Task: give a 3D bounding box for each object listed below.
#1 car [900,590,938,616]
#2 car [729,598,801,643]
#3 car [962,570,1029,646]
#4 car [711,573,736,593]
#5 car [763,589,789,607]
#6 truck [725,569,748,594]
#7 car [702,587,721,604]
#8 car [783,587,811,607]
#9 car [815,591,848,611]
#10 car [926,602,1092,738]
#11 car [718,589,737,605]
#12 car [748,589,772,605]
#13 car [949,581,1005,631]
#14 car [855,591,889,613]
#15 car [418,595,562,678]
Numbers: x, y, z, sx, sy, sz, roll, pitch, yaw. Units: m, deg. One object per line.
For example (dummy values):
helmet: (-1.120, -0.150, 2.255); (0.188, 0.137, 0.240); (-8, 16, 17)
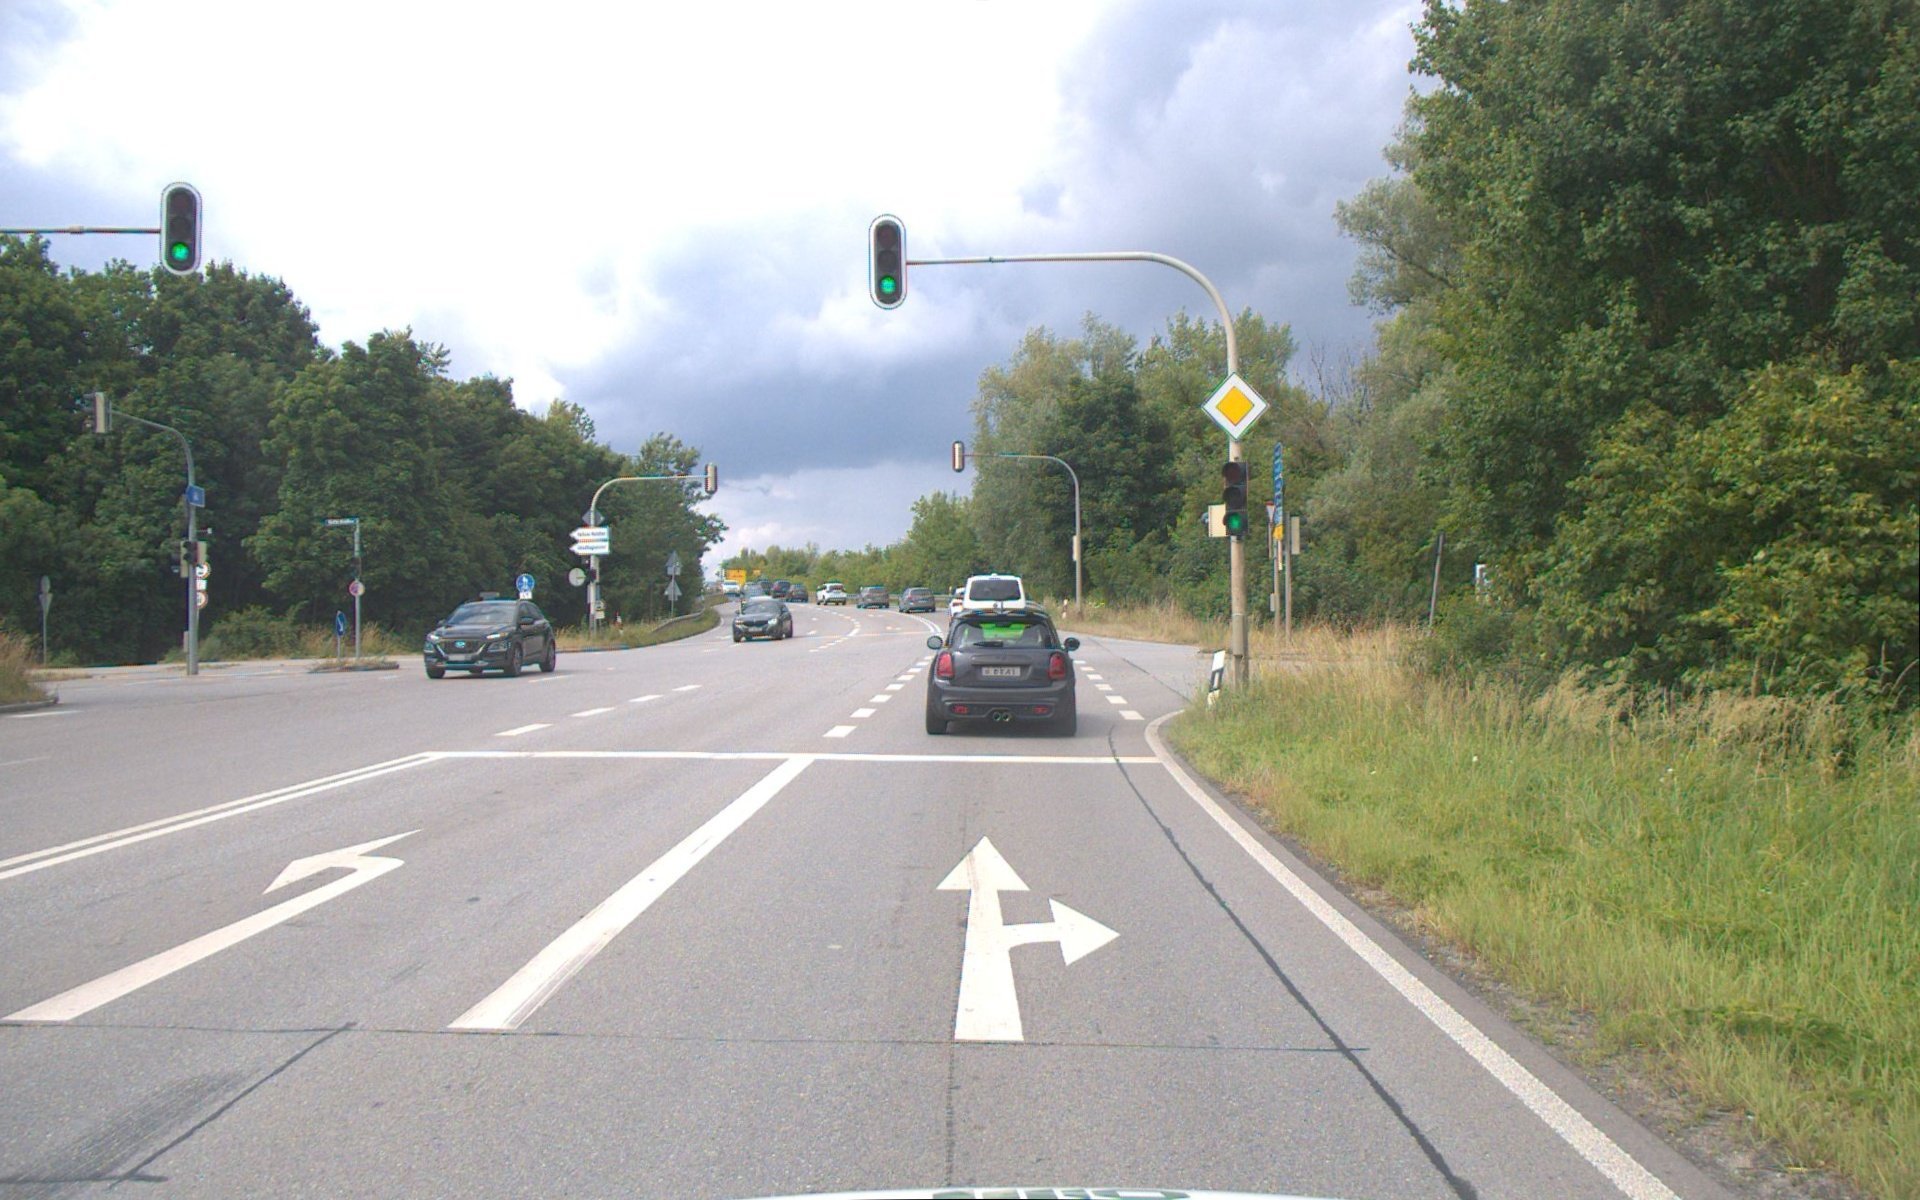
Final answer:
car: (-2.445, 0.178, 97.227); (1.954, 1.502, 4.481); (0, 0, -5)
car: (-7.226, 0.735, 61.692); (1.751, 1.556, 4.905); (-3, 0, 4)
car: (1.048, 0.173, 46.994); (1.806, 2.021, 3.843); (0, 2, 2)
car: (-20.901, -1.502, 146.060); (1.958, 1.720, 3.990); (-1, 1, -11)
car: (-18.145, -0.202, 162.813); (1.959, 1.725, 4.470); (0, 0, -14)
truck: (-29.308, -2.399, 216.876); (2.667, 2.949, 8.749); (1, -2, -9)
car: (-30.849, -0.542, 205.191); (1.959, 2.049, 3.987); (1, 0, -13)
car: (-14.721, -0.259, 148.940); (1.959, 1.725, 4.470); (0, 0, -14)
car: (-10.210, 0.101, 131.211); (1.959, 1.502, 4.471); (0, 0, -12)
car: (0.605, 0.763, 19.962); (1.806, 1.453, 3.842); (0, 0, 2)
car: (-25.053, -0.323, 178.047); (1.956, 1.641, 3.993); (-1, 1, -8)
car: (-21.811, -0.288, 179.982); (1.961, 1.725, 4.466); (0, 0, -15)
car: (0.588, 0.228, 60.936); (1.953, 1.713, 3.999); (-1, 0, 0)
car: (-6.096, 0.126, 114.779); (1.956, 1.502, 4.477); (0, 0, -8)
car: (-9.617, 0.721, 34.150); (1.754, 1.601, 4.001); (-1, 0, 1)
